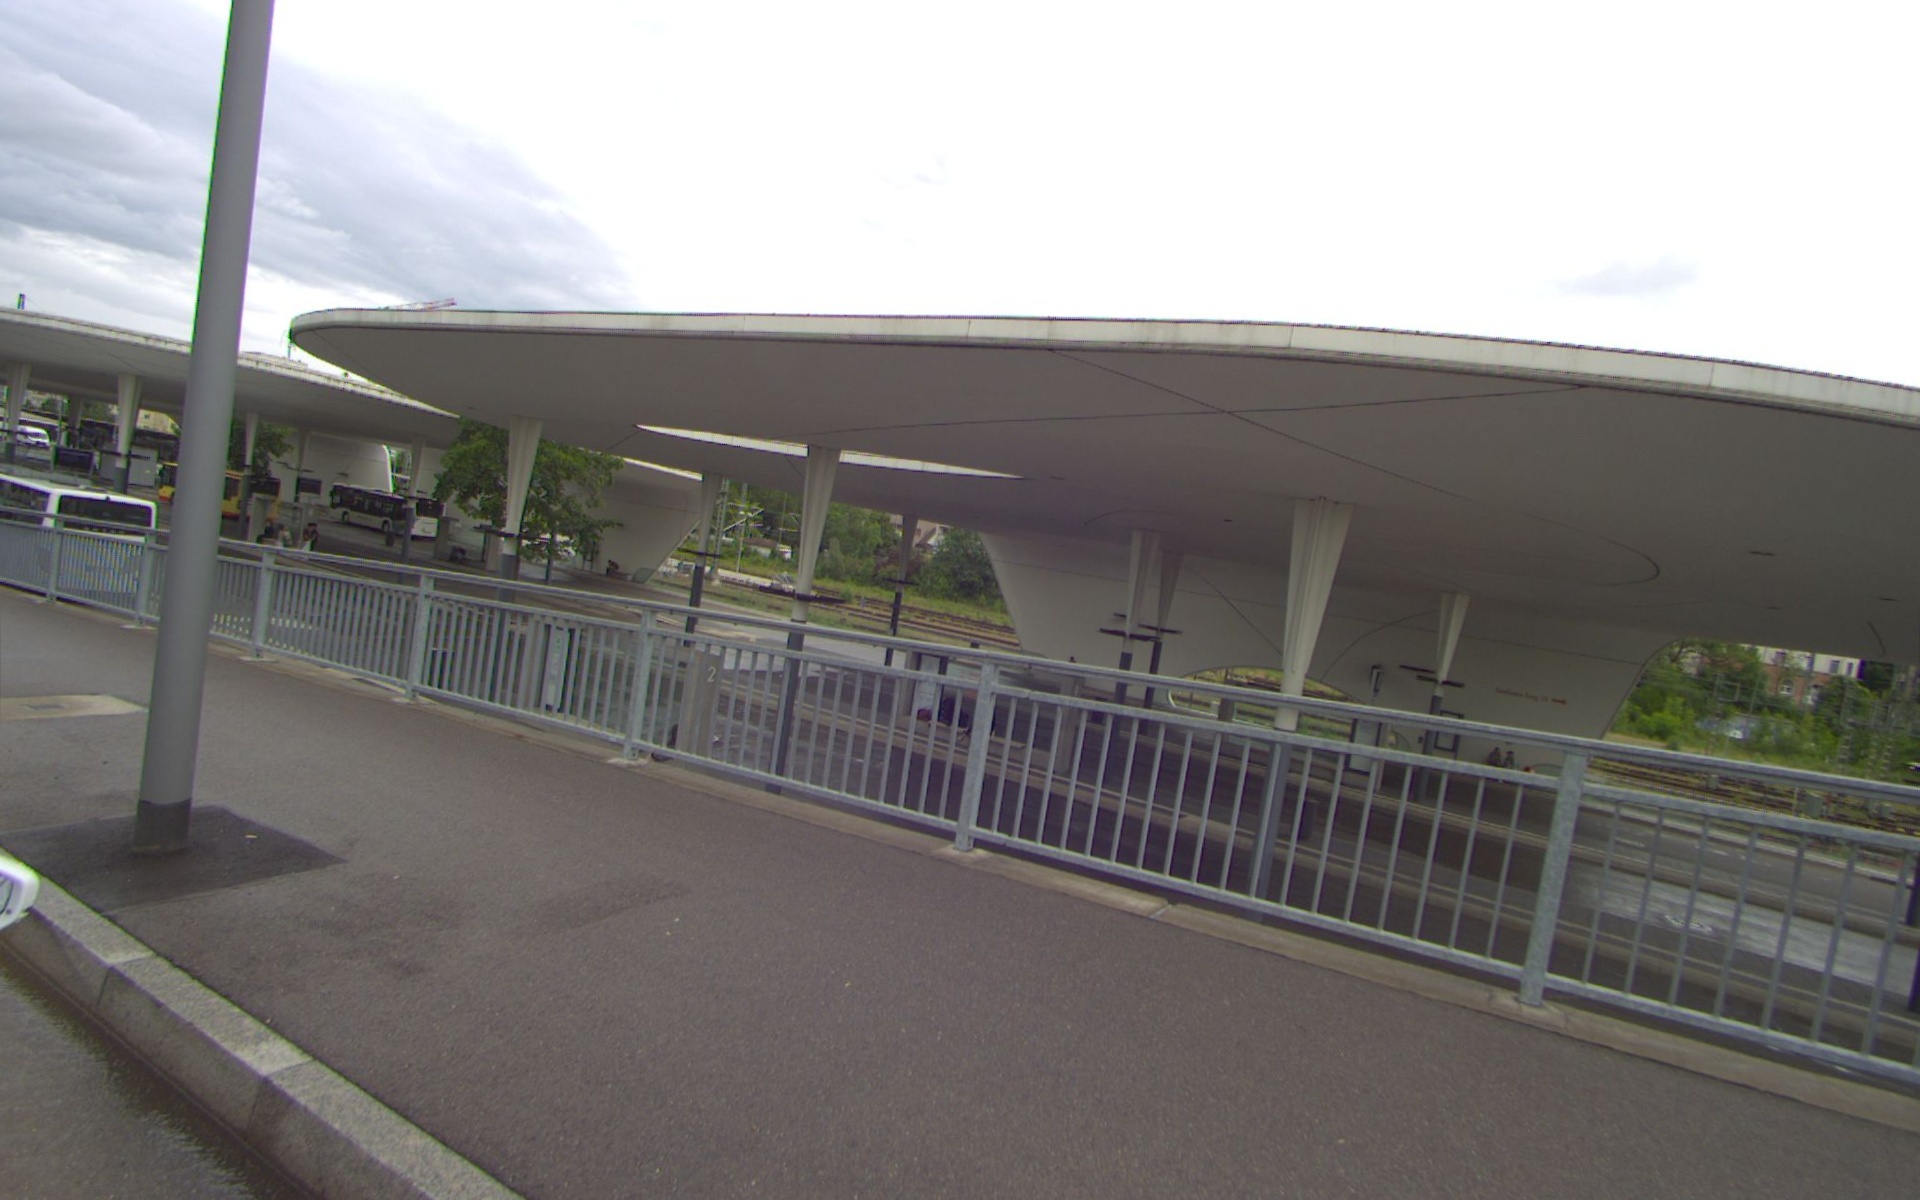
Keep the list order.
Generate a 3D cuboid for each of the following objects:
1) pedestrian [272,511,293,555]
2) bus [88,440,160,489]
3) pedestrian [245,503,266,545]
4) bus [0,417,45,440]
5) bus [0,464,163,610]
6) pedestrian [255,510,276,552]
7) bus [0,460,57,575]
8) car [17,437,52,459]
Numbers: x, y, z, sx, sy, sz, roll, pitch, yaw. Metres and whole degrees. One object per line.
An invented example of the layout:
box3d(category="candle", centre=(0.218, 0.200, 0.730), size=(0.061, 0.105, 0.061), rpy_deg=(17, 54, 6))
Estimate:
box3d(category="pedestrian", centre=(-32.799, -3.245, 48.685), size=(0.475, 2.040, 0.560), rpy_deg=(8, 2, 34))
box3d(category="bus", centre=(-69.615, -11.334, 83.751), size=(6.880, 3.252, 2.600), rpy_deg=(9, 3, 34))
box3d(category="pedestrian", centre=(-35.833, -3.886, 51.178), size=(0.570, 2.040, 0.544), rpy_deg=(8, 2, 33))
box3d(category="bus", centre=(-119.461, -21.675, 123.603), size=(2.132, 2.039, 10.183), rpy_deg=(8, 1, 29))
box3d(category="bus", centre=(-27.153, -1.994, 29.984), size=(6.948, 3.279, 2.649), rpy_deg=(12, 4, 28))
box3d(category="pedestrian", centre=(-34.733, -3.449, 50.311), size=(0.570, 2.040, 0.544), rpy_deg=(8, 2, 33))
box3d(category="bus", centre=(-33.219, -3.111, 33.301), size=(6.948, 3.279, 2.649), rpy_deg=(12, 4, 28))
box3d(category="car", centre=(-109.045, -17.923, 118.501), size=(3.933, 2.040, 1.995), rpy_deg=(9, 2, 32))
